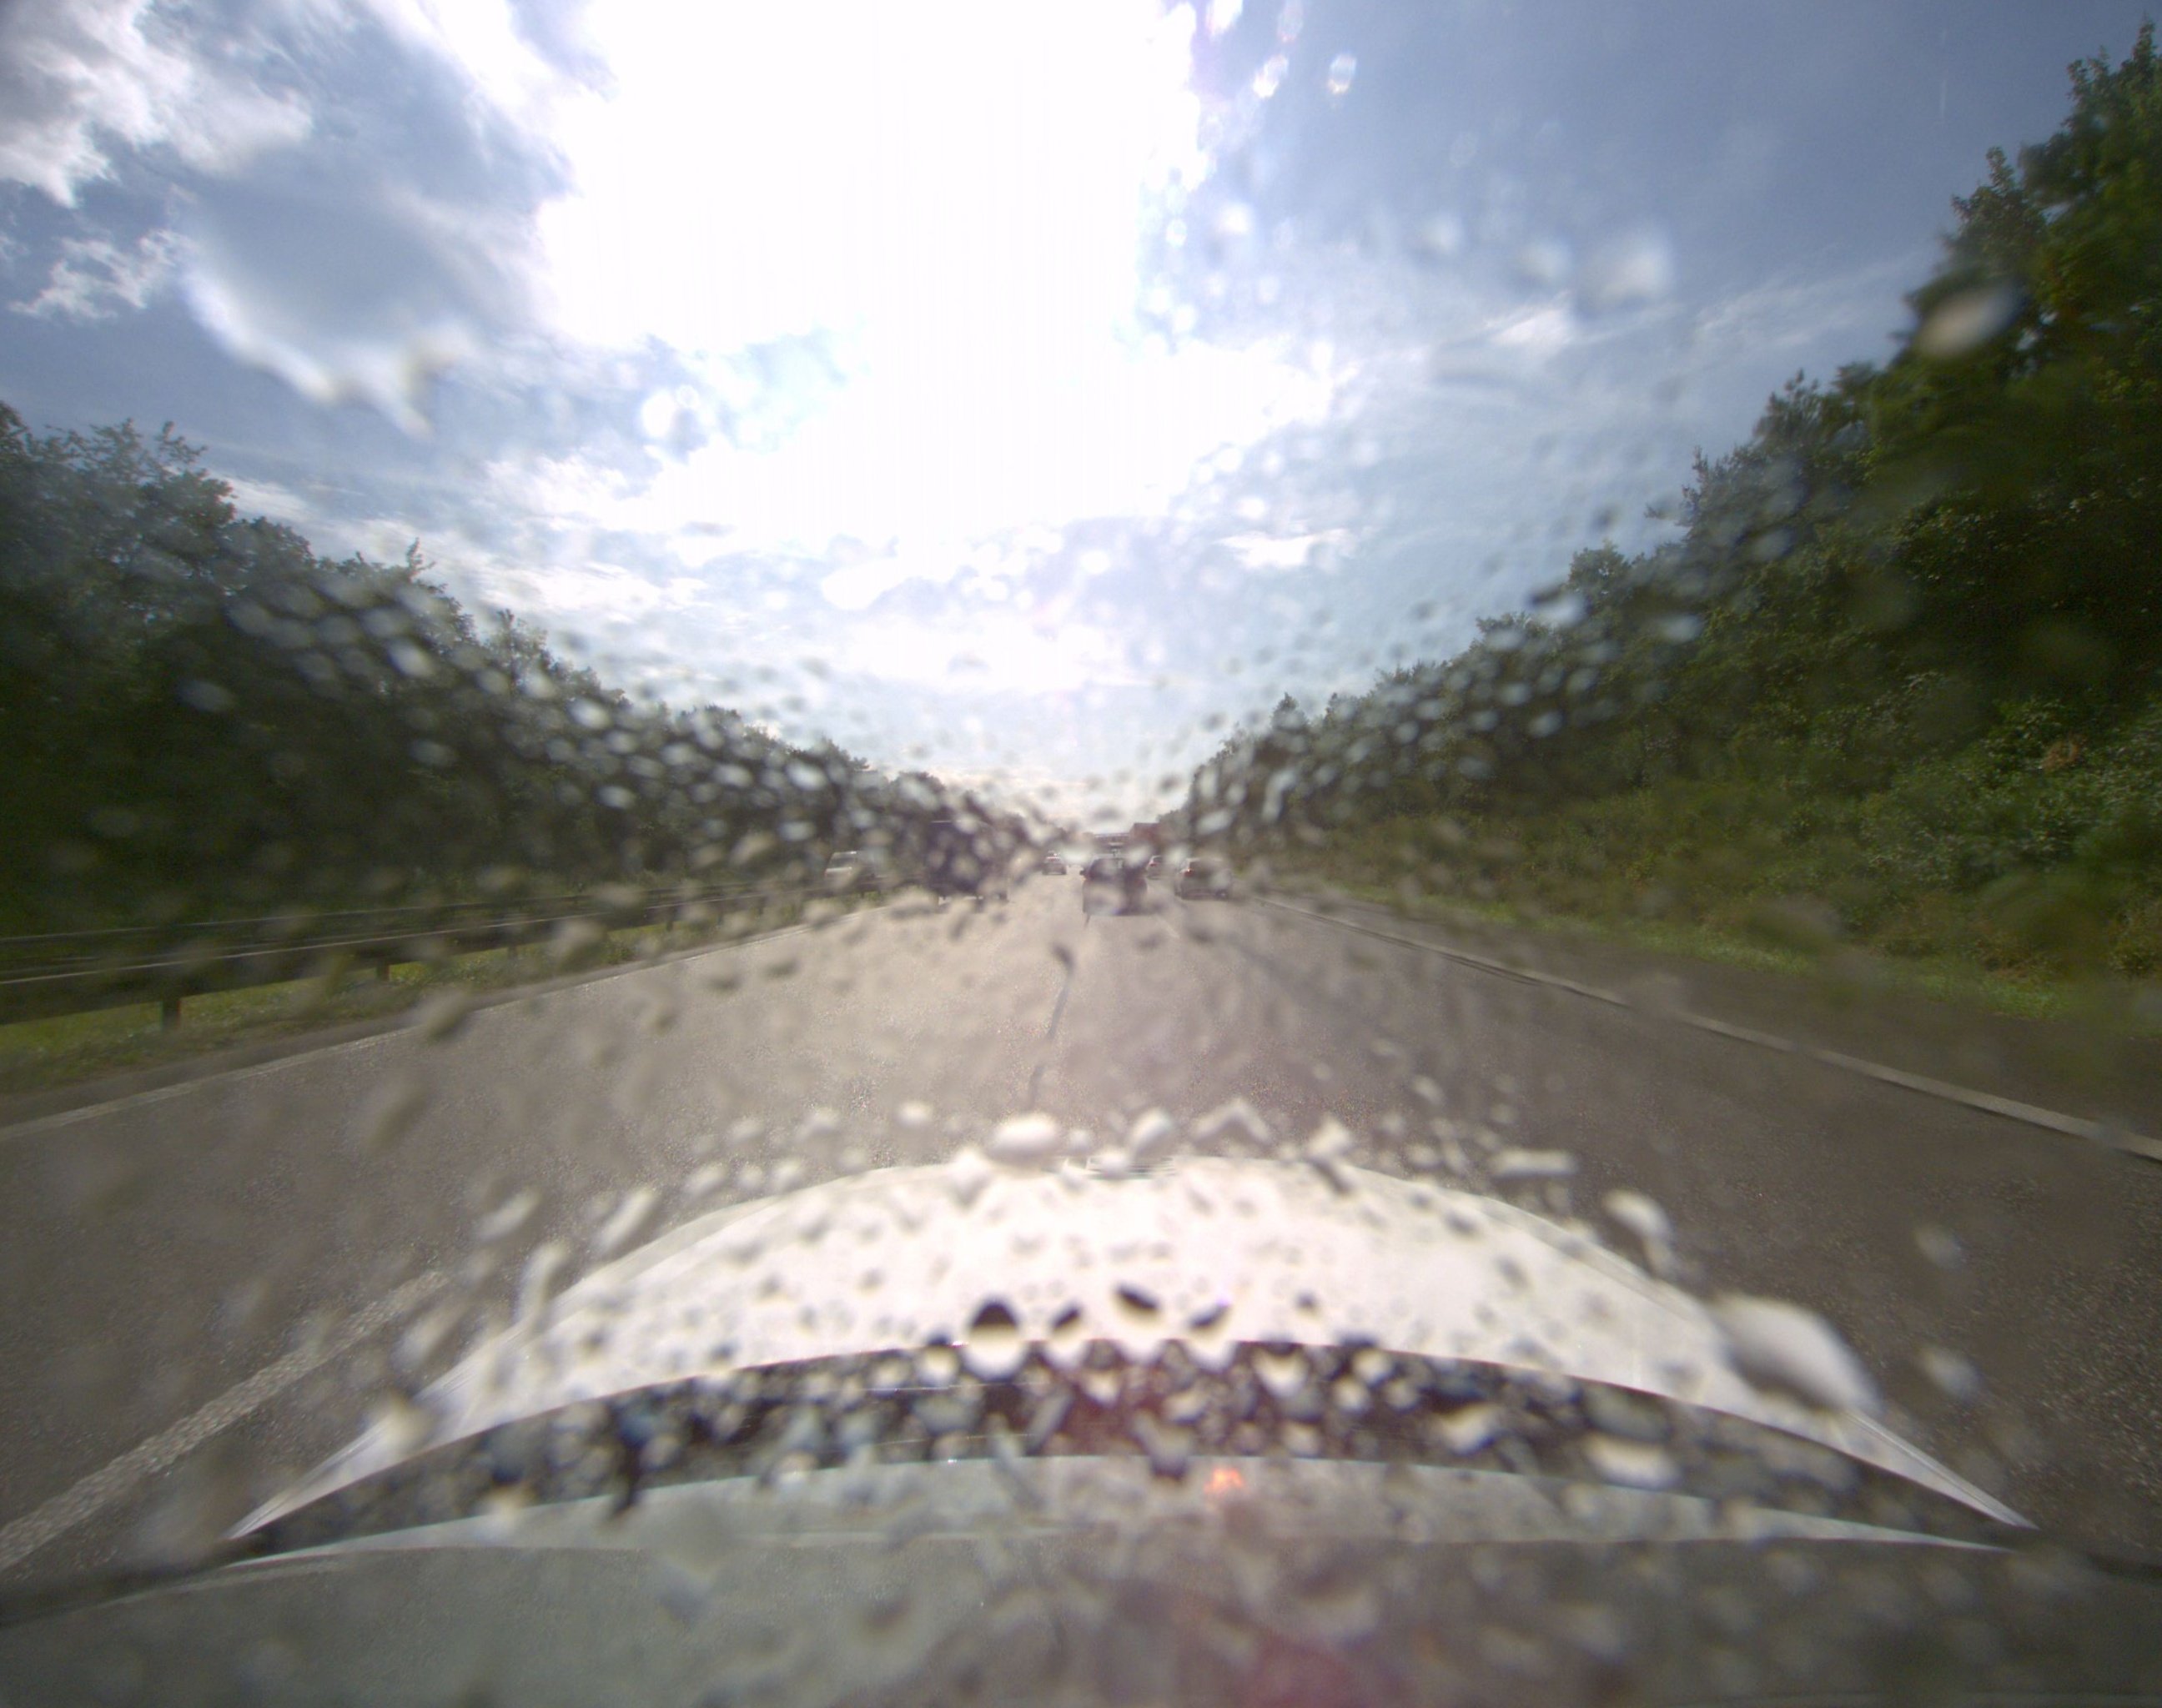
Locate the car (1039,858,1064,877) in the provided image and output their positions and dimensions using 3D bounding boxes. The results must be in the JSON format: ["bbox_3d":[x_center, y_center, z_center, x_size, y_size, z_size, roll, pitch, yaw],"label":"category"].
[{"bbox_3d":[-2.434,1.141,68.231,1.848,1.551,3.485,-1,0,1],"label":"car"}]

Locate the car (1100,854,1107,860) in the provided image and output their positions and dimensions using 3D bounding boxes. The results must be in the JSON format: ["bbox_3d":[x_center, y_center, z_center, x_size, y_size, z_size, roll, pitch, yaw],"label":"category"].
[{"bbox_3d":[7.058,0.877,255.486,1.986,1.728,4.002,-1,0,2],"label":"car"}]

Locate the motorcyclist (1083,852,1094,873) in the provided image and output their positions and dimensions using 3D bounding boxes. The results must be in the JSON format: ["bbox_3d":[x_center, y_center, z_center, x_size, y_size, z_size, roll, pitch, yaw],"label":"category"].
[{"bbox_3d":[0.569,0.665,62.583,0.799,1.633,1.013,-1,-1,1],"label":"motorcyclist"}]

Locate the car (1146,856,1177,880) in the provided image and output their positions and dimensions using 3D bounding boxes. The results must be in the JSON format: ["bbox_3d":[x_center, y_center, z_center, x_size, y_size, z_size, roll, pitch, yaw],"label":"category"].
[{"bbox_3d":[5.148,0.870,52.362,1.674,1.442,3.905,-1,0,1],"label":"car"}]

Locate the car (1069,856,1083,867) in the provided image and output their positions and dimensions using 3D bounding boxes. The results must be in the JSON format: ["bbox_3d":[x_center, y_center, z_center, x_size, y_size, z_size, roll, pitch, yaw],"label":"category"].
[{"bbox_3d":[-0.645,1.005,111.277,1.745,1.457,3.390,-1,0,1],"label":"car"}]

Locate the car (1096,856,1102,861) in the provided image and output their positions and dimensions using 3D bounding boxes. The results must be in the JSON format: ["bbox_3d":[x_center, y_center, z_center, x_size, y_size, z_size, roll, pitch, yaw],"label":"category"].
[{"bbox_3d":[4.191,1.012,191.176,1.544,1.267,3.485,-1,0,1],"label":"car"}]

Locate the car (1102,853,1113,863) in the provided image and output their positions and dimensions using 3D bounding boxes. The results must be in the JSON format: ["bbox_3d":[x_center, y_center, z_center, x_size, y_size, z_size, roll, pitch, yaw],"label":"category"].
[{"bbox_3d":[3.954,0.600,119.836,1.547,1.383,3.210,-1,0,1],"label":"car"}]

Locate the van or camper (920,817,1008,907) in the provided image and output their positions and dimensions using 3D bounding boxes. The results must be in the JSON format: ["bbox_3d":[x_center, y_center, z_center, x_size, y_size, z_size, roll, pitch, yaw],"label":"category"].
[{"bbox_3d":[-3.724,0.245,26.918,1.986,2.669,5.385,-1,0,1],"label":"van or camper"}]

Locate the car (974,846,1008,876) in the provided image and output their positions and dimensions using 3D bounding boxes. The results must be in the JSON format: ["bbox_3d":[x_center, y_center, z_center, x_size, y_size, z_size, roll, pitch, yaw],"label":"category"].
[{"bbox_3d":[-7.611,0.595,69.350,2.175,2.452,5.749,-1,0,1],"label":"car"}]

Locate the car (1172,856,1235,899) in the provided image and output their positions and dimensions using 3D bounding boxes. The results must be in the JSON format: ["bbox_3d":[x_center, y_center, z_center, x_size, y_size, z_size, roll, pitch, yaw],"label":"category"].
[{"bbox_3d":[4.330,0.788,29.360,1.686,1.425,4.221,-1,0,1],"label":"car"}]

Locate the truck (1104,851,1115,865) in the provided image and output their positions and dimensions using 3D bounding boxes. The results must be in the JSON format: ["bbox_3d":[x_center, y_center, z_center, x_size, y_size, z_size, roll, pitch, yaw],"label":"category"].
[{"bbox_3d":[6.038,0.856,171.139,2.184,2.875,4.850,-1,0,1],"label":"truck"}]

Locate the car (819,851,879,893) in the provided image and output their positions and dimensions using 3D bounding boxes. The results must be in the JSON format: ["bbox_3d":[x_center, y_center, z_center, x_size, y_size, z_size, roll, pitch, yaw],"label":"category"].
[{"bbox_3d":[-16.753,1.275,59.314,2.255,2.870,6.932,-1,0,1],"label":"car"}]

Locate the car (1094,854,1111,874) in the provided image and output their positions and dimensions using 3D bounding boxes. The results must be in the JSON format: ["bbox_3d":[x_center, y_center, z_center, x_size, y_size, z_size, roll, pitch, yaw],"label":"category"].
[{"bbox_3d":[1.890,0.873,71.985,1.526,1.746,3.485,-1,0,1],"label":"car"}]

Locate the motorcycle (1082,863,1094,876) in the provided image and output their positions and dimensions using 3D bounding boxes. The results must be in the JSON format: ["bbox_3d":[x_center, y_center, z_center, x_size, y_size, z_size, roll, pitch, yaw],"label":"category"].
[{"bbox_3d":[0.560,1.181,62.623,0.887,1.000,2.896,-1,0,1],"label":"motorcycle"}]

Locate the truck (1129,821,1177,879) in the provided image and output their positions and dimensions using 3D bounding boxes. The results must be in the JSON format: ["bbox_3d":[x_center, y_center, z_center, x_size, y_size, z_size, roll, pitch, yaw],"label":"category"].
[{"bbox_3d":[6.314,-0.274,74.319,3.635,4.720,16.790,-1,0,3],"label":"truck"}]

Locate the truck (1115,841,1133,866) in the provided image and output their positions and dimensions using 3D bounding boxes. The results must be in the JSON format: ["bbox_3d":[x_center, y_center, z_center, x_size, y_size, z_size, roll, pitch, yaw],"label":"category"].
[{"bbox_3d":[7.967,-0.037,151.815,3.243,4.479,12.429,-1,0,3],"label":"truck"}]

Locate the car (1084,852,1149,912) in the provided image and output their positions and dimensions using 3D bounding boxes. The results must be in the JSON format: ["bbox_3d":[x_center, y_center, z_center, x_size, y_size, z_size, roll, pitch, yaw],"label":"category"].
[{"bbox_3d":[0.964,0.745,23.104,1.711,1.568,3.485,-1,0,1],"label":"car"}]

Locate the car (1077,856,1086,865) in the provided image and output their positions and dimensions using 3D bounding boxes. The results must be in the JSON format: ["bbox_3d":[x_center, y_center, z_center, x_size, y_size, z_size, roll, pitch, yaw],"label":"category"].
[{"bbox_3d":[0.143,1.081,139.010,1.455,1.393,3.312,-1,0,1],"label":"car"}]
